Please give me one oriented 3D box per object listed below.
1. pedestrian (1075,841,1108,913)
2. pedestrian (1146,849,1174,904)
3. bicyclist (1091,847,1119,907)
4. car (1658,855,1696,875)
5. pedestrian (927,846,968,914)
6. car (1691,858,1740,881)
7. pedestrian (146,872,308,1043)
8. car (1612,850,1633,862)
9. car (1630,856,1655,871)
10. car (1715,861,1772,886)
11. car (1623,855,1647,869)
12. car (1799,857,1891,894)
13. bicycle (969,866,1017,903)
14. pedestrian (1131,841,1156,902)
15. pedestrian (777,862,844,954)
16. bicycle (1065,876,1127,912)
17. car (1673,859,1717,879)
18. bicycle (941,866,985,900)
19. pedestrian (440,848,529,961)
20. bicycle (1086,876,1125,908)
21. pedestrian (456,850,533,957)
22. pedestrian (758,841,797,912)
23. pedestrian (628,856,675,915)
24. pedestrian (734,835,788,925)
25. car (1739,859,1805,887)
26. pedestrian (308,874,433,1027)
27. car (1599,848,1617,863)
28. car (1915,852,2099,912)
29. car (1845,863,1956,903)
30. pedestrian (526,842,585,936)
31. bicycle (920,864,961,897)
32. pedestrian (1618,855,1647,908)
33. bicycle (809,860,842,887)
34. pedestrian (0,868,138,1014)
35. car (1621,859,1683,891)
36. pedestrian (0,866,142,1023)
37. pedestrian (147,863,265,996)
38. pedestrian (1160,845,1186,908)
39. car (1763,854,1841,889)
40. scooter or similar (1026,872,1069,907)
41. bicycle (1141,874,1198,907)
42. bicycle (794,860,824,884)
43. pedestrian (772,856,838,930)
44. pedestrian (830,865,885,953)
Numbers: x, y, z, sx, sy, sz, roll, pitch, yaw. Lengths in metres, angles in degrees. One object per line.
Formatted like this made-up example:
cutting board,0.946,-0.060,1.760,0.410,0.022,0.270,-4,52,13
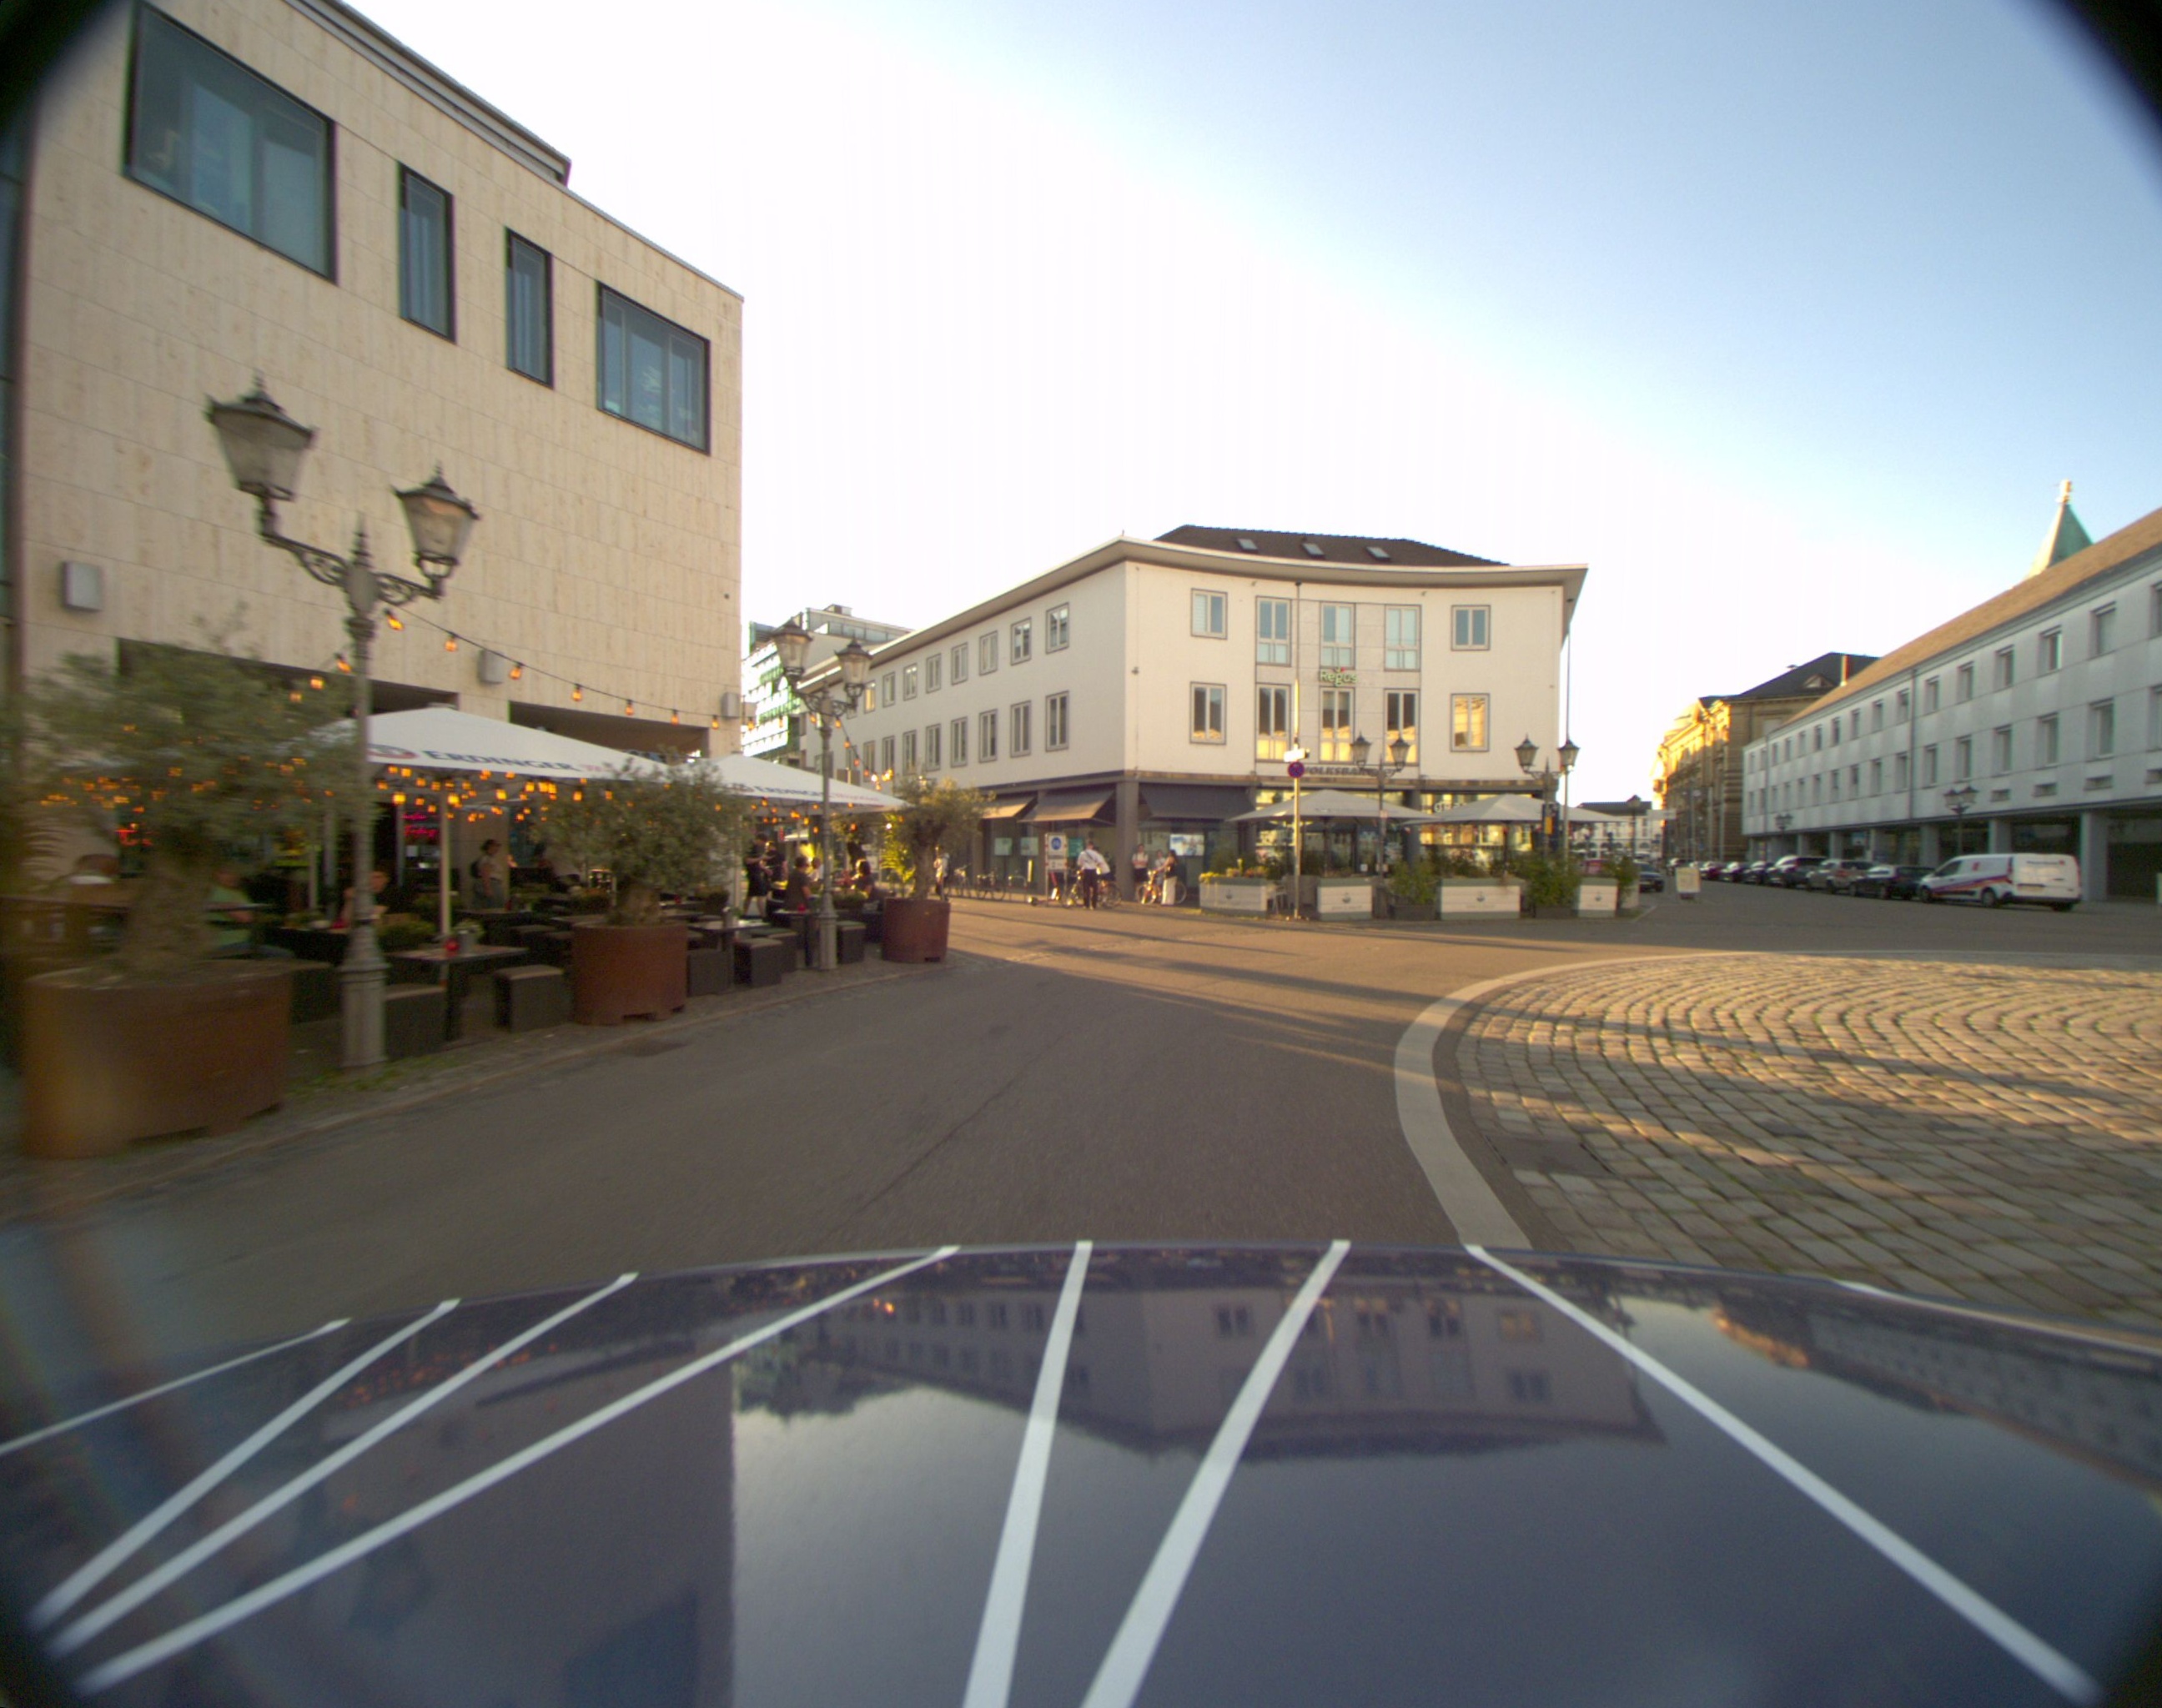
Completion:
pedestrian,0.284,0.617,20.892,0.629,1.917,0.643,-1,1,-37
pedestrian,2.449,0.687,23.509,0.618,1.667,0.735,1,1,30
bicyclist,0.707,0.657,22.366,0.481,1.733,0.837,1,1,31
car,52.039,0.903,66.386,1.777,1.657,4.336,1,1,27
pedestrian,-3.487,0.657,19.888,0.934,1.731,0.921,0,1,-2
car,45.671,1.090,54.771,1.777,1.483,4.336,1,1,27
pedestrian,-7.854,0.897,7.043,0.867,1.439,0.721,0,1,-37
car,73.918,0.251,103.748,1.777,1.657,4.337,1,1,29
car,64.715,1.104,87.586,1.777,1.657,4.337,1,1,29
car,43.184,1.216,49.624,1.777,1.483,4.336,1,1,27
car,67.730,0.983,92.906,1.777,1.657,4.337,1,1,29
car,34.783,0.929,34.723,1.777,1.506,3.968,1,1,27
bicycle,-2.978,1.005,25.536,0.523,1.135,1.958,-1,1,-43
pedestrian,1.983,0.537,24.135,0.579,1.912,0.544,1,1,30
pedestrian,-4.466,0.866,12.539,0.867,1.439,0.721,0,1,-37
bicycle,0.424,1.087,20.969,1.679,0.928,0.473,0,1,-24
car,47.982,1.143,59.450,1.777,1.483,4.336,1,1,27
bicycle,-4.198,1.007,26.962,0.523,1.135,1.958,-1,1,-43
pedestrian,-9.887,0.797,12.613,0.726,1.792,0.984,1,1,36
bicycle,0.723,1.104,22.375,0.481,0.843,1.487,1,1,31
pedestrian,-10.238,0.827,13.269,0.727,1.792,0.852,1,1,33
pedestrian,-7.552,0.543,18.904,0.718,1.737,0.708,0,1,-42
pedestrian,-10.135,0.727,17.924,0.708,1.341,0.785,1,1,43
pedestrian,-6.356,0.495,15.116,0.708,1.737,0.718,1,1,35
car,40.914,1.096,45.105,1.777,1.483,4.336,1,1,27
pedestrian,-7.324,0.946,7.882,0.867,1.439,0.721,0,1,-37
car,76.023,0.181,109.620,1.777,2.214,4.337,1,1,29
car,30.645,0.838,25.389,2.017,1.815,4.467,0,1,22
car,32.710,1.102,30.477,1.777,1.416,3.968,1,1,27
pedestrian,-10.015,0.640,14.495,0.708,1.737,0.718,1,1,35
bicycle,-5.259,0.966,28.350,0.523,1.135,1.958,-1,1,-43
pedestrian,17.931,0.879,24.726,0.602,1.691,0.715,1,1,23
bicycle,-12.412,0.918,36.854,0.800,1.210,2.227,0,1,-38
pedestrian,-10.824,0.882,8.123,0.772,1.439,0.854,1,1,44
car,27.148,0.953,36.234,1.777,1.416,3.968,1,1,28
pedestrian,-10.123,0.854,7.604,0.772,1.439,0.854,1,1,43
pedestrian,-10.191,0.838,8.887,0.772,1.439,0.854,1,1,44
pedestrian,2.705,0.649,22.275,0.507,1.807,0.720,1,1,30
car,37.871,0.880,40.034,1.777,1.718,4.336,1,1,27
scooter or similar,-0.994,1.054,22.743,1.206,1.005,0.486,0,1,-30
bicycle,2.629,1.083,22.544,1.679,0.928,0.473,0,1,-24
bicycle,-14.266,0.929,39.810,0.800,1.210,2.227,0,1,-38
pedestrian,-5.675,0.763,15.613,0.968,1.439,0.947,1,1,44
pedestrian,-3.832,0.909,13.010,0.695,1.439,0.721,0,1,-37
